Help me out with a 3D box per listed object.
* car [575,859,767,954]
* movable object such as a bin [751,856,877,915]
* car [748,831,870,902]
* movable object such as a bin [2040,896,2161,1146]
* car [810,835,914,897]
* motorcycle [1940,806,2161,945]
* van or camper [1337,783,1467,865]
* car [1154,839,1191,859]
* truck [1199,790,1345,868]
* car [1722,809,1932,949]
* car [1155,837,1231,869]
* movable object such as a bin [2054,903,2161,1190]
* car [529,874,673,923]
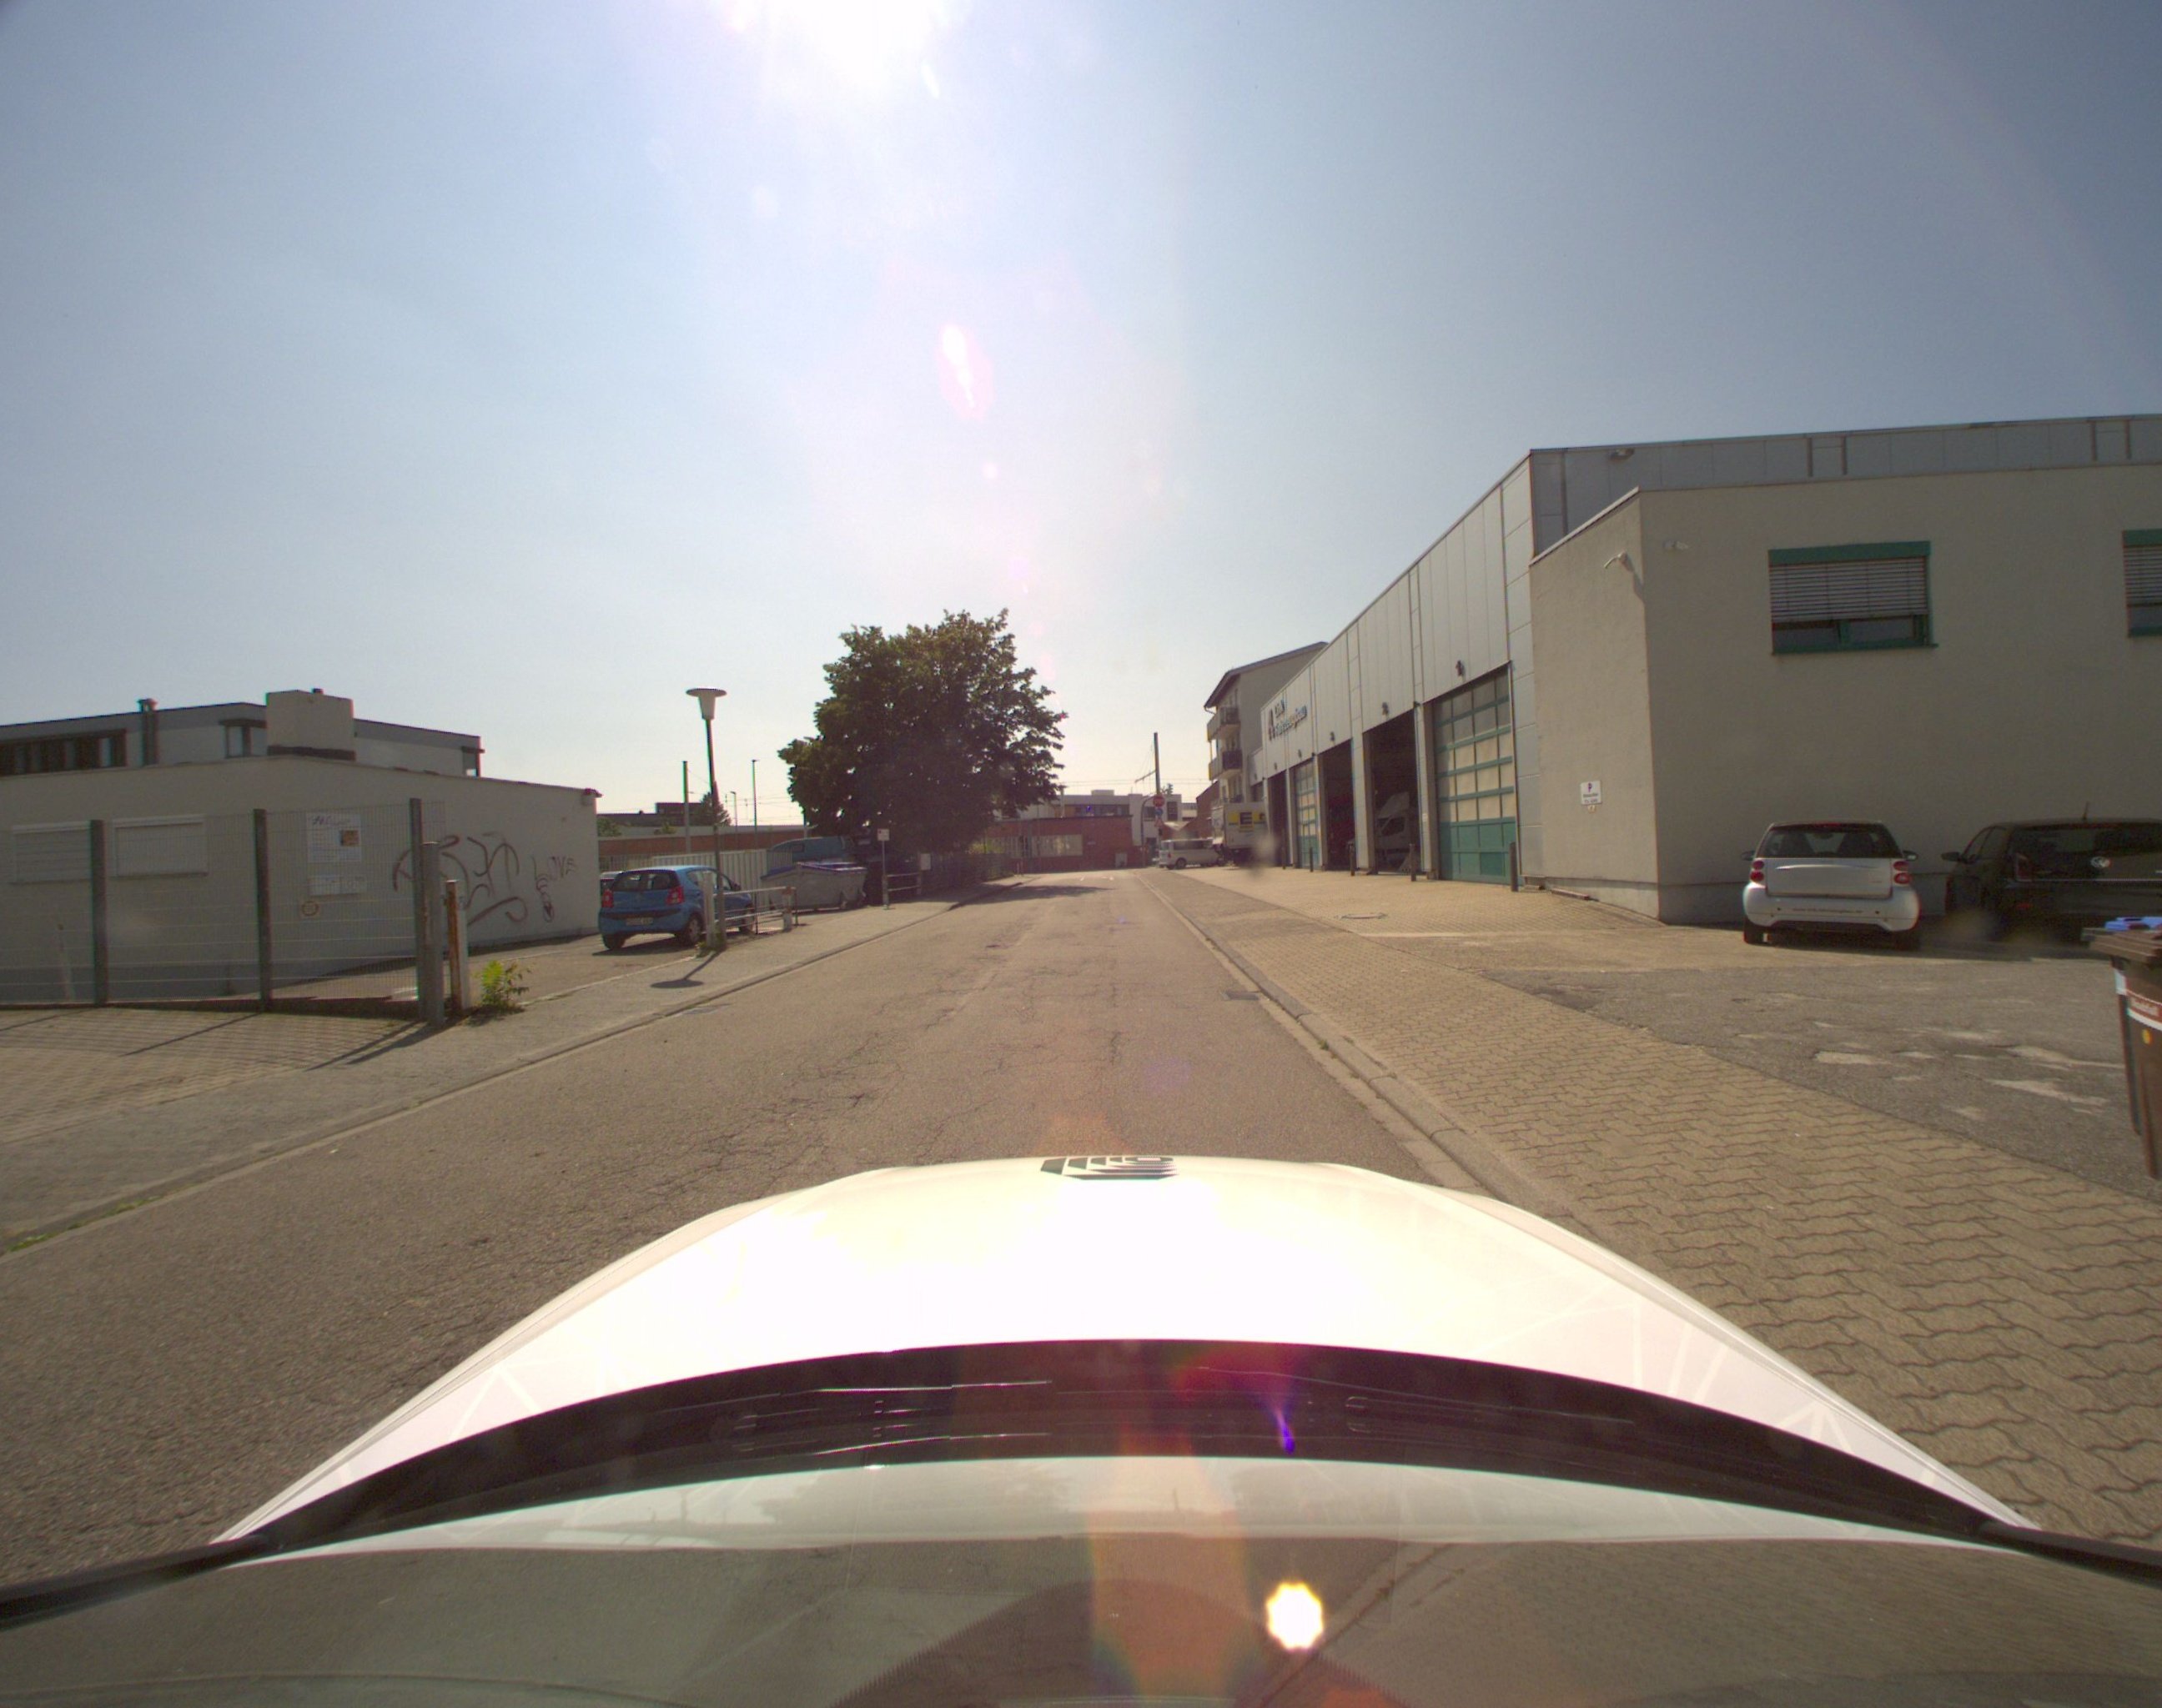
[{"bbox_3d":[-7.858,0.923,16.044,1.808,1.530,3.675,-4,0,0],"label":"car"},{"bbox_3d":[-7.977,0.902,24.634,2.612,1.510,2.734,-3,0,7],"label":"movable object such as a bin"},{"bbox_3d":[-10.565,0.474,31.853,4.072,2.513,1.777,-3,0,0],"label":"car"},{"bbox_3d":[4.579,0.673,3.408,0.510,0.946,0.489,-3,0,13],"label":"movable object such as a bin"},{"bbox_3d":[-9.812,0.518,36.662,4.072,2.513,1.777,-3,0,0],"label":"car"},{"bbox_3d":[12.551,0.193,10.507,1.756,1.492,3.631,-3,0,43],"label":"motorcycle"},{"bbox_3d":[13.893,-1.267,35.400,4.743,3.288,1.999,-3,0,-2],"label":"van or camper"},{"bbox_3d":[11.221,-0.609,99.884,4.013,2.189,1.981,-3,0,-30],"label":"car"},{"bbox_3d":[10.797,-1.376,46.394,7.346,3.645,2.763,-5,0,-4],"label":"truck"},{"bbox_3d":[9.956,0.236,10.922,1.756,1.539,3.725,-3,0,43],"label":"car"},{"bbox_3d":[7.559,-0.060,54.882,4.666,1.957,1.905,-3,0,-17],"label":"car"},{"bbox_3d":[4.049,0.669,2.916,0.562,0.946,0.561,-3,0,35],"label":"movable object such as a bin"},{"bbox_3d":[-17.255,1.583,29.381,4.123,1.455,1.756,-3,0,5],"label":"car"}]
